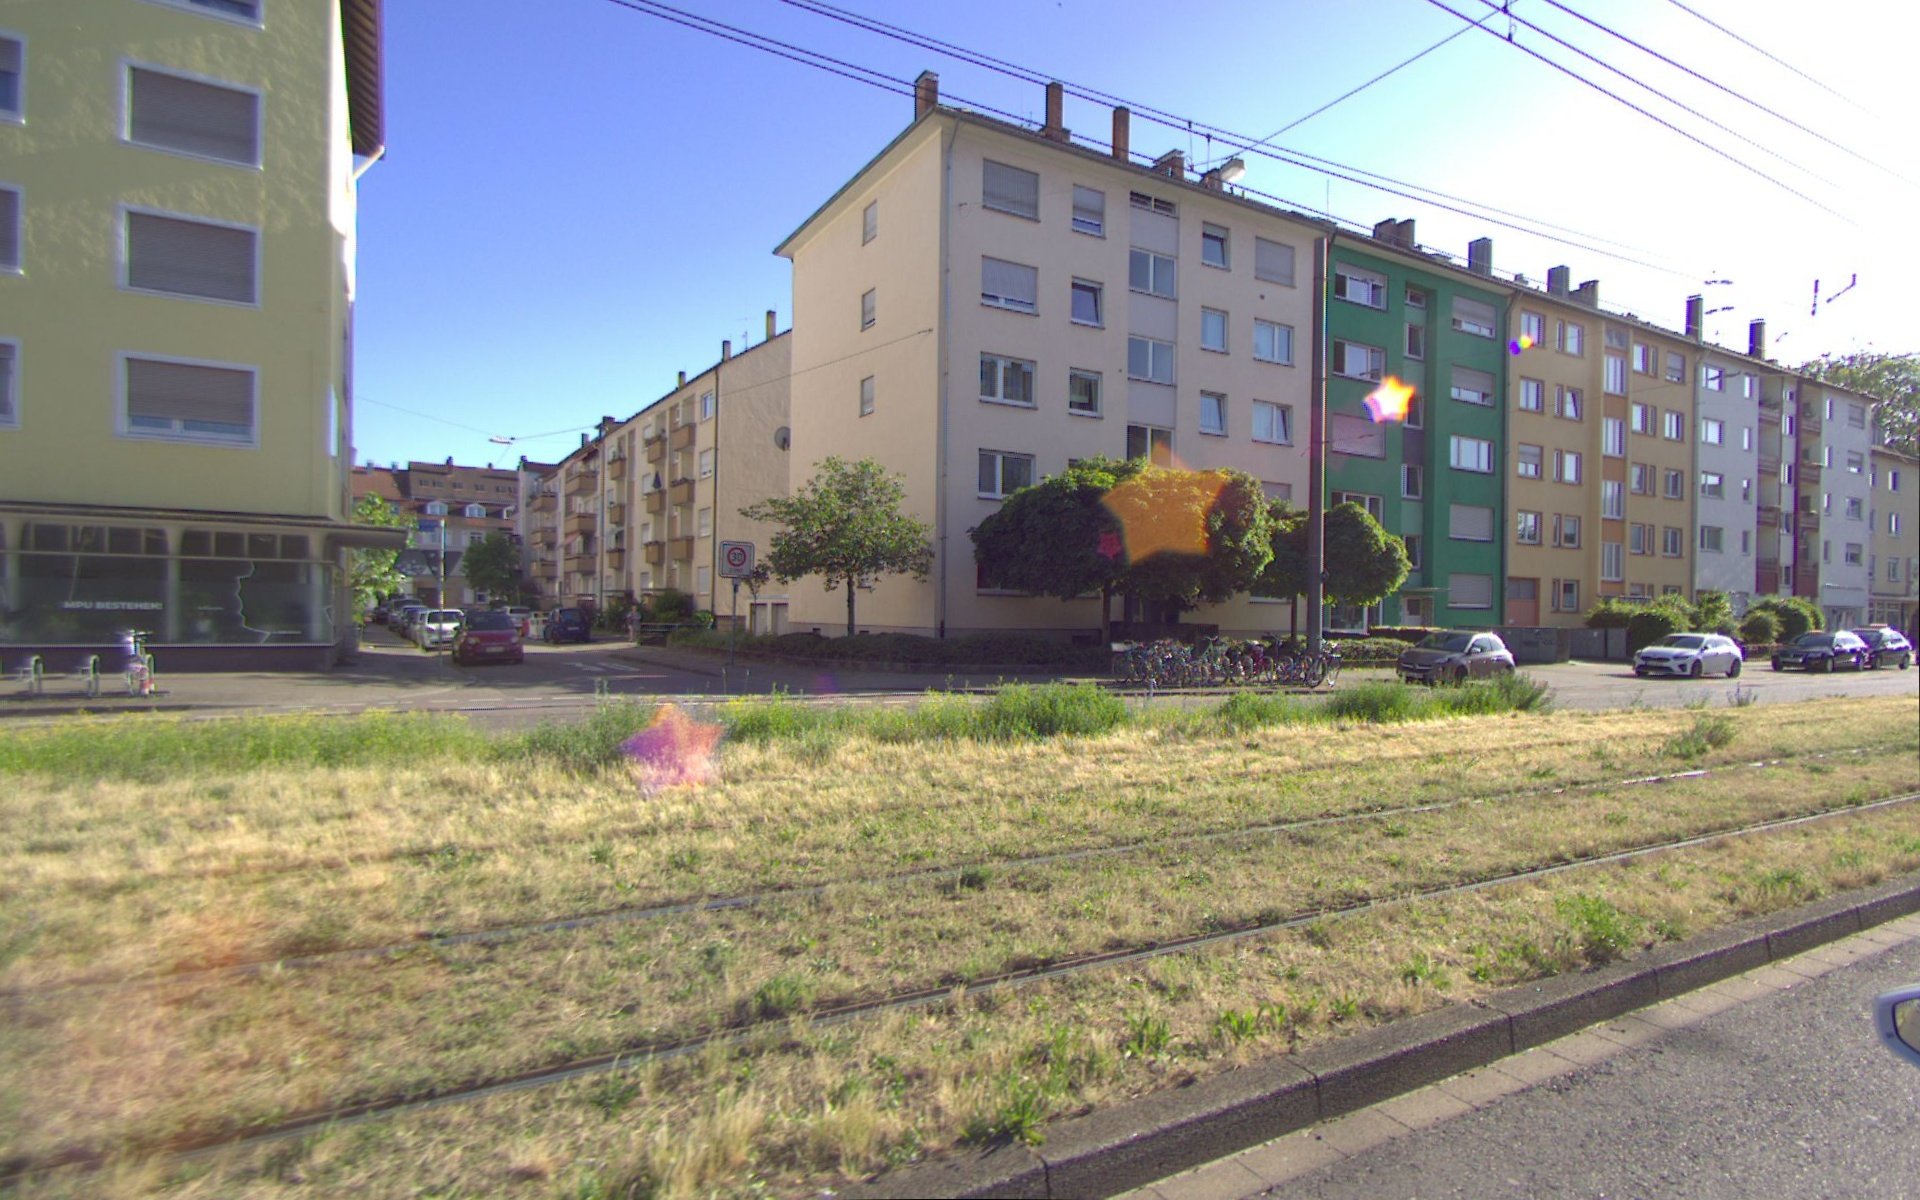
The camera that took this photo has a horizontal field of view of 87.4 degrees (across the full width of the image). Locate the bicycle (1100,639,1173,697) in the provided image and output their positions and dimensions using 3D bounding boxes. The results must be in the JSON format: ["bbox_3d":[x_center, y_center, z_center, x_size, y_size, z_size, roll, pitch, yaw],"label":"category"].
[{"bbox_3d":[4.002,1.520,22.945,0.607,1.107,2.042,1,2,-23],"label":"bicycle"}]

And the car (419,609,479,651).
[{"bbox_3d":[-19.957,1.149,39.168,1.753,1.551,3.966,1,-2,-32],"label":"car"}]

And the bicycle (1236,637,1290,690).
[{"bbox_3d":[7.547,1.559,25.095,0.604,1.107,2.053,2,2,-3],"label":"bicycle"}]

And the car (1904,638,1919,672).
[{"bbox_3d":[45.985,2.565,46.712,4.651,1.511,1.881,1,2,-32],"label":"car"}]

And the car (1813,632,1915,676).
[{"bbox_3d":[38.073,2.253,42.293,4.102,1.629,1.984,1,2,-30],"label":"car"}]

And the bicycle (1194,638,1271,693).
[{"bbox_3d":[6.527,1.549,24.145,0.607,1.107,2.042,1,2,-23],"label":"bicycle"}]

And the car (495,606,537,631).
[{"bbox_3d":[-26.388,1.134,59.615,1.753,1.431,3.966,1,-2,-32],"label":"car"}]

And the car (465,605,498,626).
[{"bbox_3d":[-38.783,1.293,81.361,1.879,1.632,4.461,1,-2,-32],"label":"car"}]

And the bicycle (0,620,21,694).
[{"bbox_3d":[-15.480,0.936,15.848,0.467,1.120,2.088,1,2,-29],"label":"bicycle"}]

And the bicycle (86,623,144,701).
[{"bbox_3d":[-14.122,1.001,16.818,0.386,1.120,1.811,1,2,-29],"label":"bicycle"}]

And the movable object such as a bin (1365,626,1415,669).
[{"bbox_3d":[14.930,1.638,34.884,1.026,1.386,1.142,2,2,-27],"label":"movable object such as a bin"}]

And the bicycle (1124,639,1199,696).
[{"bbox_3d":[4.628,1.536,23.235,0.607,1.107,2.042,1,2,-23],"label":"bicycle"}]

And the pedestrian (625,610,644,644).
[{"bbox_3d":[-14.810,1.212,45.686,0.659,1.514,0.584,1,2,-32],"label":"pedestrian"}]

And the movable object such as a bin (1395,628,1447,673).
[{"bbox_3d":[15.472,1.696,33.733,1.026,1.386,1.142,2,2,-27],"label":"movable object such as a bin"}]

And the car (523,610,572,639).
[{"bbox_3d":[-21.594,1.294,52.532,1.753,1.431,3.966,1,-2,-32],"label":"car"}]

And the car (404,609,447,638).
[{"bbox_3d":[-27.763,1.218,52.108,1.753,1.431,3.966,1,-2,-32],"label":"car"}]

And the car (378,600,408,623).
[{"bbox_3d":[-48.597,1.017,86.050,1.994,1.935,4.461,1,-2,-32],"label":"car"}]

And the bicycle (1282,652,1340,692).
[{"bbox_3d":[8.704,1.770,24.879,2.039,0.877,0.373,1,3,-42],"label":"bicycle"}]

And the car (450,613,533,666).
[{"bbox_3d":[-13.713,1.113,29.305,1.753,1.431,3.966,1,-2,-32],"label":"car"}]

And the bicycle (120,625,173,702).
[{"bbox_3d":[-13.774,1.043,17.035,0.386,1.120,1.811,1,2,-29],"label":"bicycle"}]

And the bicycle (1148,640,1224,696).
[{"bbox_3d":[5.268,1.567,23.546,0.607,1.107,2.042,1,2,-23],"label":"bicycle"}]

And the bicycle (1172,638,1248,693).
[{"bbox_3d":[5.913,1.533,23.880,0.607,1.107,2.042,1,2,-23],"label":"bicycle"}]

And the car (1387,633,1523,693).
[{"bbox_3d":[13.666,1.690,27.693,3.693,1.461,1.626,1,2,-33],"label":"car"}]

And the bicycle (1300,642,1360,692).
[{"bbox_3d":[9.064,1.627,24.553,1.921,1.107,0.504,1,3,-42],"label":"bicycle"}]

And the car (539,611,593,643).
[{"bbox_3d":[-18.724,1.287,47.649,1.753,1.431,3.966,1,-2,-32],"label":"car"}]

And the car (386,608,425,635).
[{"bbox_3d":[-34.793,1.391,62.926,1.879,1.632,4.461,1,-2,-32],"label":"car"}]

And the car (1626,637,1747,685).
[{"bbox_3d":[24.699,2.025,34.129,4.324,1.474,1.720,1,1,-30],"label":"car"}]

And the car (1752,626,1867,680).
[{"bbox_3d":[33.360,2.045,39.424,4.555,1.862,1.984,1,2,-30],"label":"car"}]
